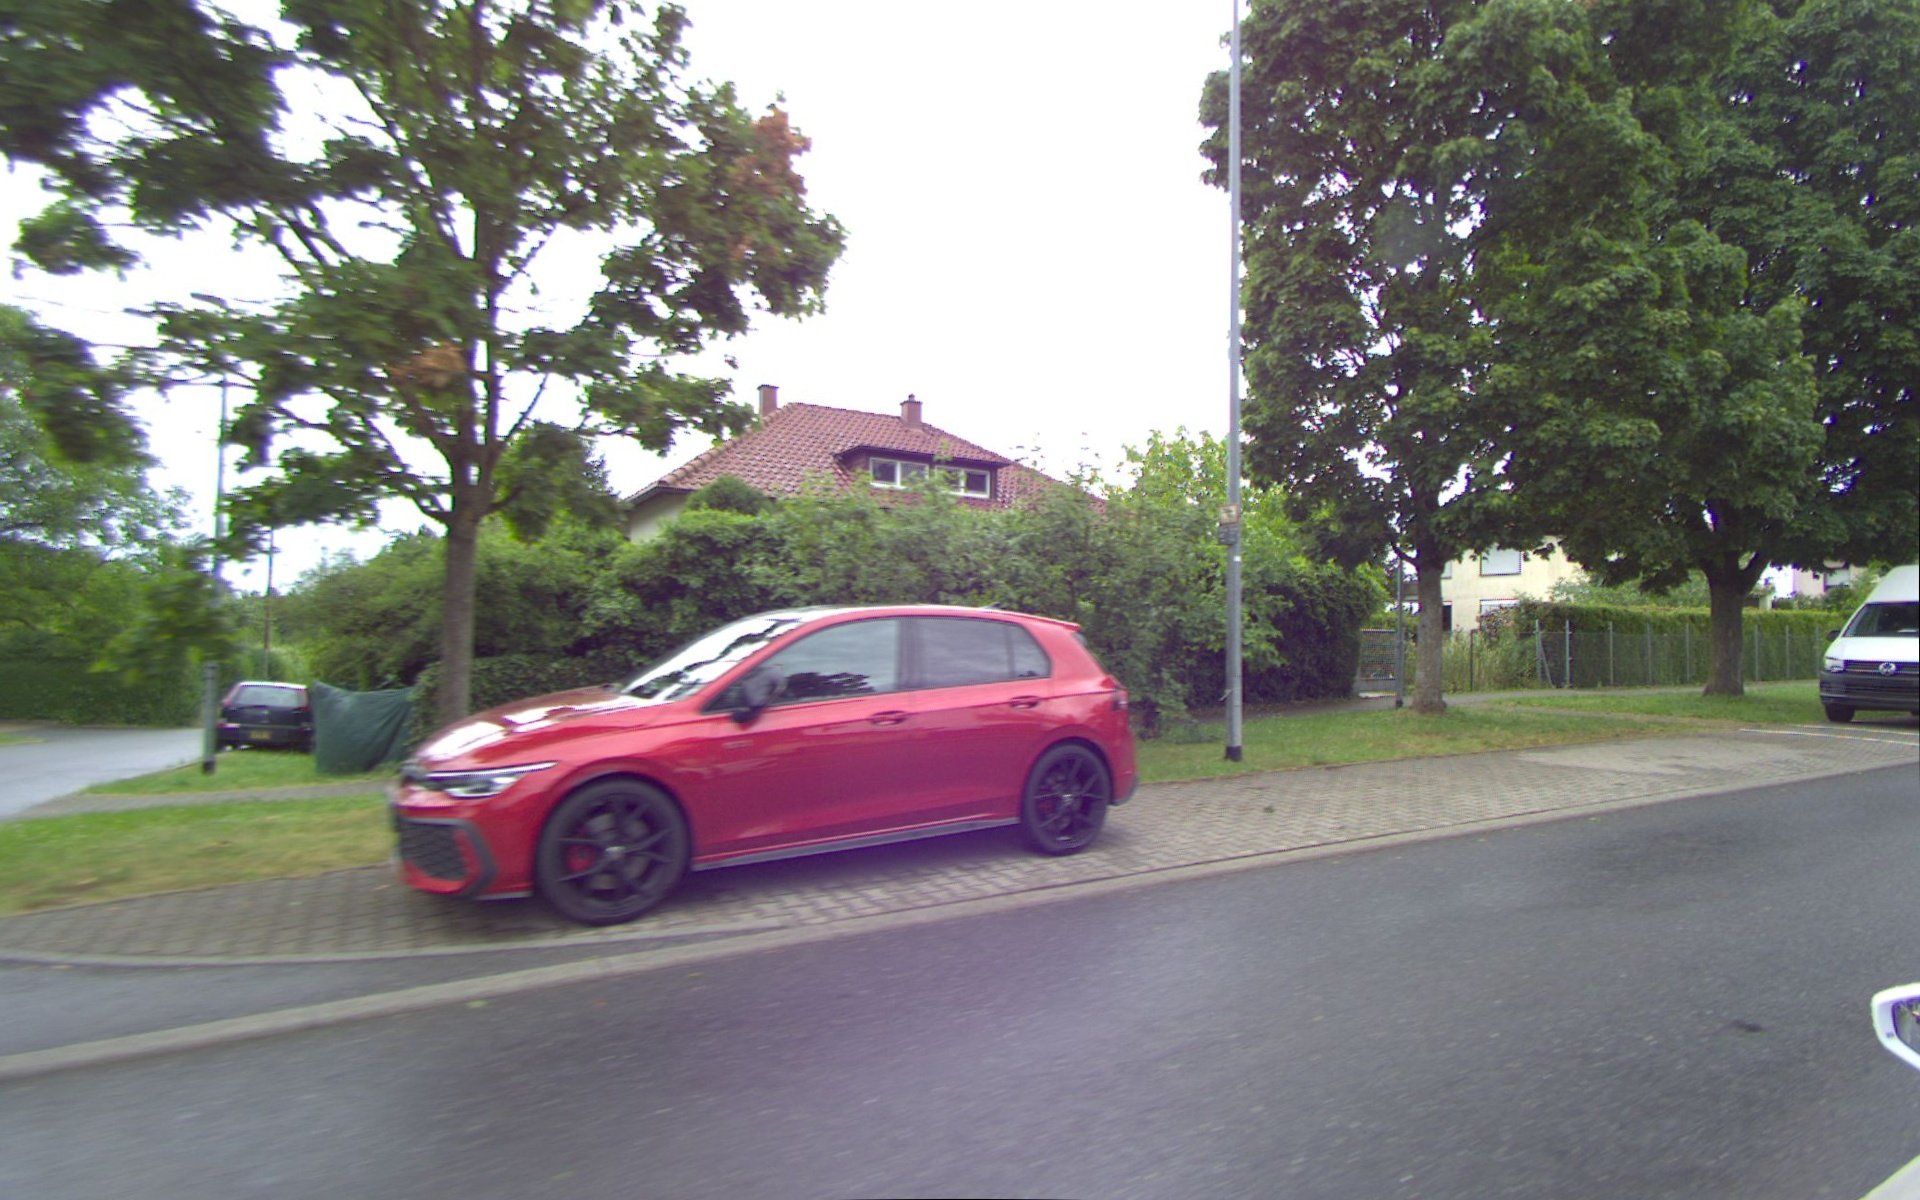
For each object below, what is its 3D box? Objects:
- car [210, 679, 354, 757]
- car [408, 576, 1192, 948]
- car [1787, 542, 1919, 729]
[{"bbox_3d":[-13.896,2.435,20.806,1.791,1.381,3.530,7,-8,-25],"label":"car"},{"bbox_3d":[-0.816,0.681,5.908,4.201,1.485,1.834,1,-1,-32],"label":"car"},{"bbox_3d":[15.286,0.551,15.742,5.173,2.595,1.984,1,-2,-31],"label":"car"}]
